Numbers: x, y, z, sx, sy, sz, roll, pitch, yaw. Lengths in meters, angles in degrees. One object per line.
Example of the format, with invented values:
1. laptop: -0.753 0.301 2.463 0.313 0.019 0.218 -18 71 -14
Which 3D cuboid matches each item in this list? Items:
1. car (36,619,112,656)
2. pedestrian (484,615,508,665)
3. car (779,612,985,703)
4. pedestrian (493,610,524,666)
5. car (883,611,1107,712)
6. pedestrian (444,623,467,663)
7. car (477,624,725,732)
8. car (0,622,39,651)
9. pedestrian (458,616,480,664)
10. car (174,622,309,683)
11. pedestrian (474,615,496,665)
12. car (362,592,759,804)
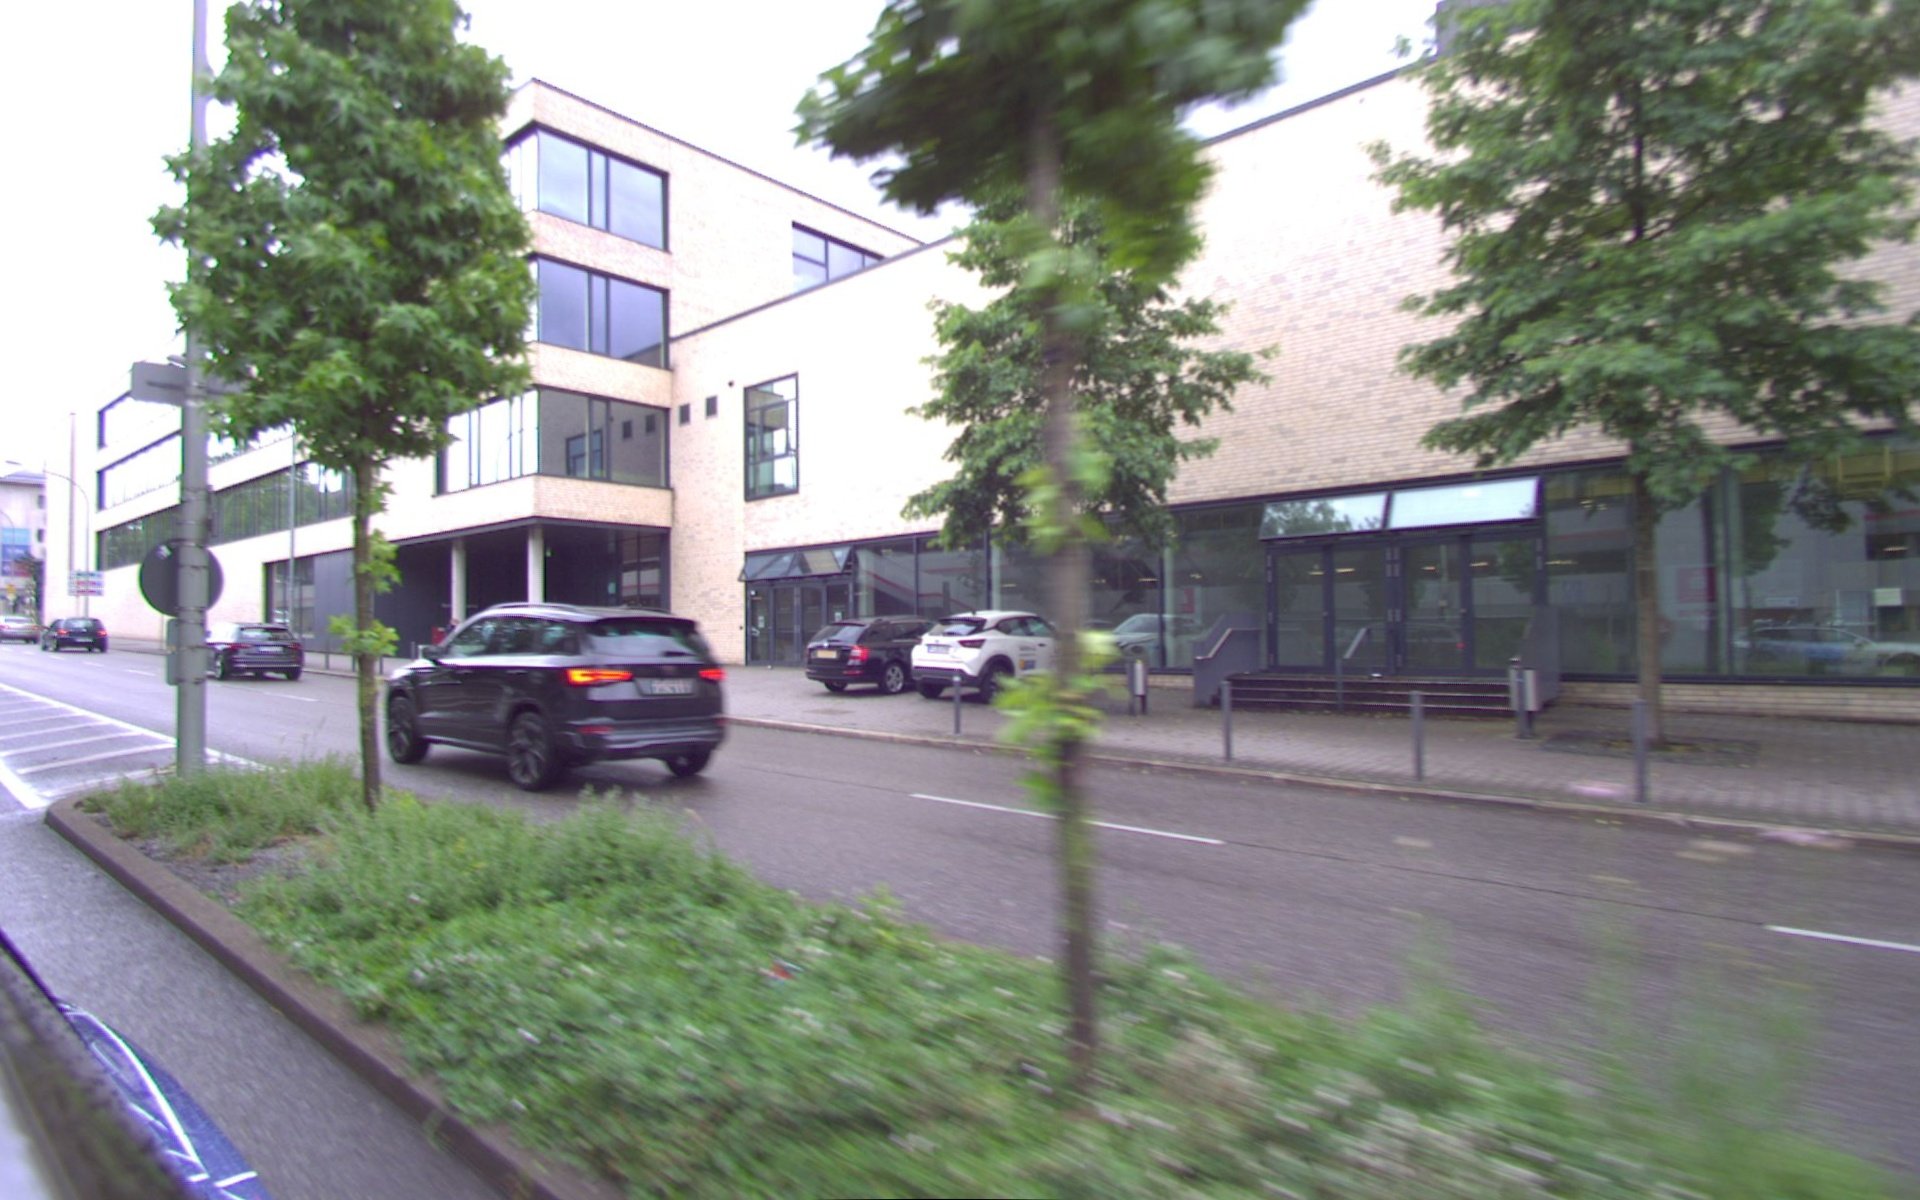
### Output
1. car: -36.587 1.522 41.755 3.967 1.423 1.727 -1 -3 40
2. pedestrian: -14.046 1.210 30.656 0.528 1.486 0.437 0 1 37
3. car: -1.464 1.054 20.481 1.996 1.506 4.140 0 1 35
4. pedestrian: -14.370 1.188 32.201 0.704 1.727 0.628 0 1 41
5. car: 0.755 1.048 19.061 2.000 1.559 4.130 0 1 43
6. pedestrian: -16.162 1.367 32.409 0.422 1.224 0.542 0 1 44
7. car: -5.740 1.147 15.952 4.227 1.480 1.715 -1 -4 39
8. car: -49.078 1.862 52.112 4.226 1.399 1.811 -1 -3 40
9. pedestrian: -15.450 1.256 31.825 0.463 1.486 0.445 0 1 37
10. car: -18.443 1.309 25.921 4.195 1.404 1.715 -1 -3 39
11. pedestrian: -14.621 1.227 31.167 0.463 1.486 0.445 0 1 37
12. car: -4.016 0.829 9.864 4.227 1.638 1.715 -1 -4 39
